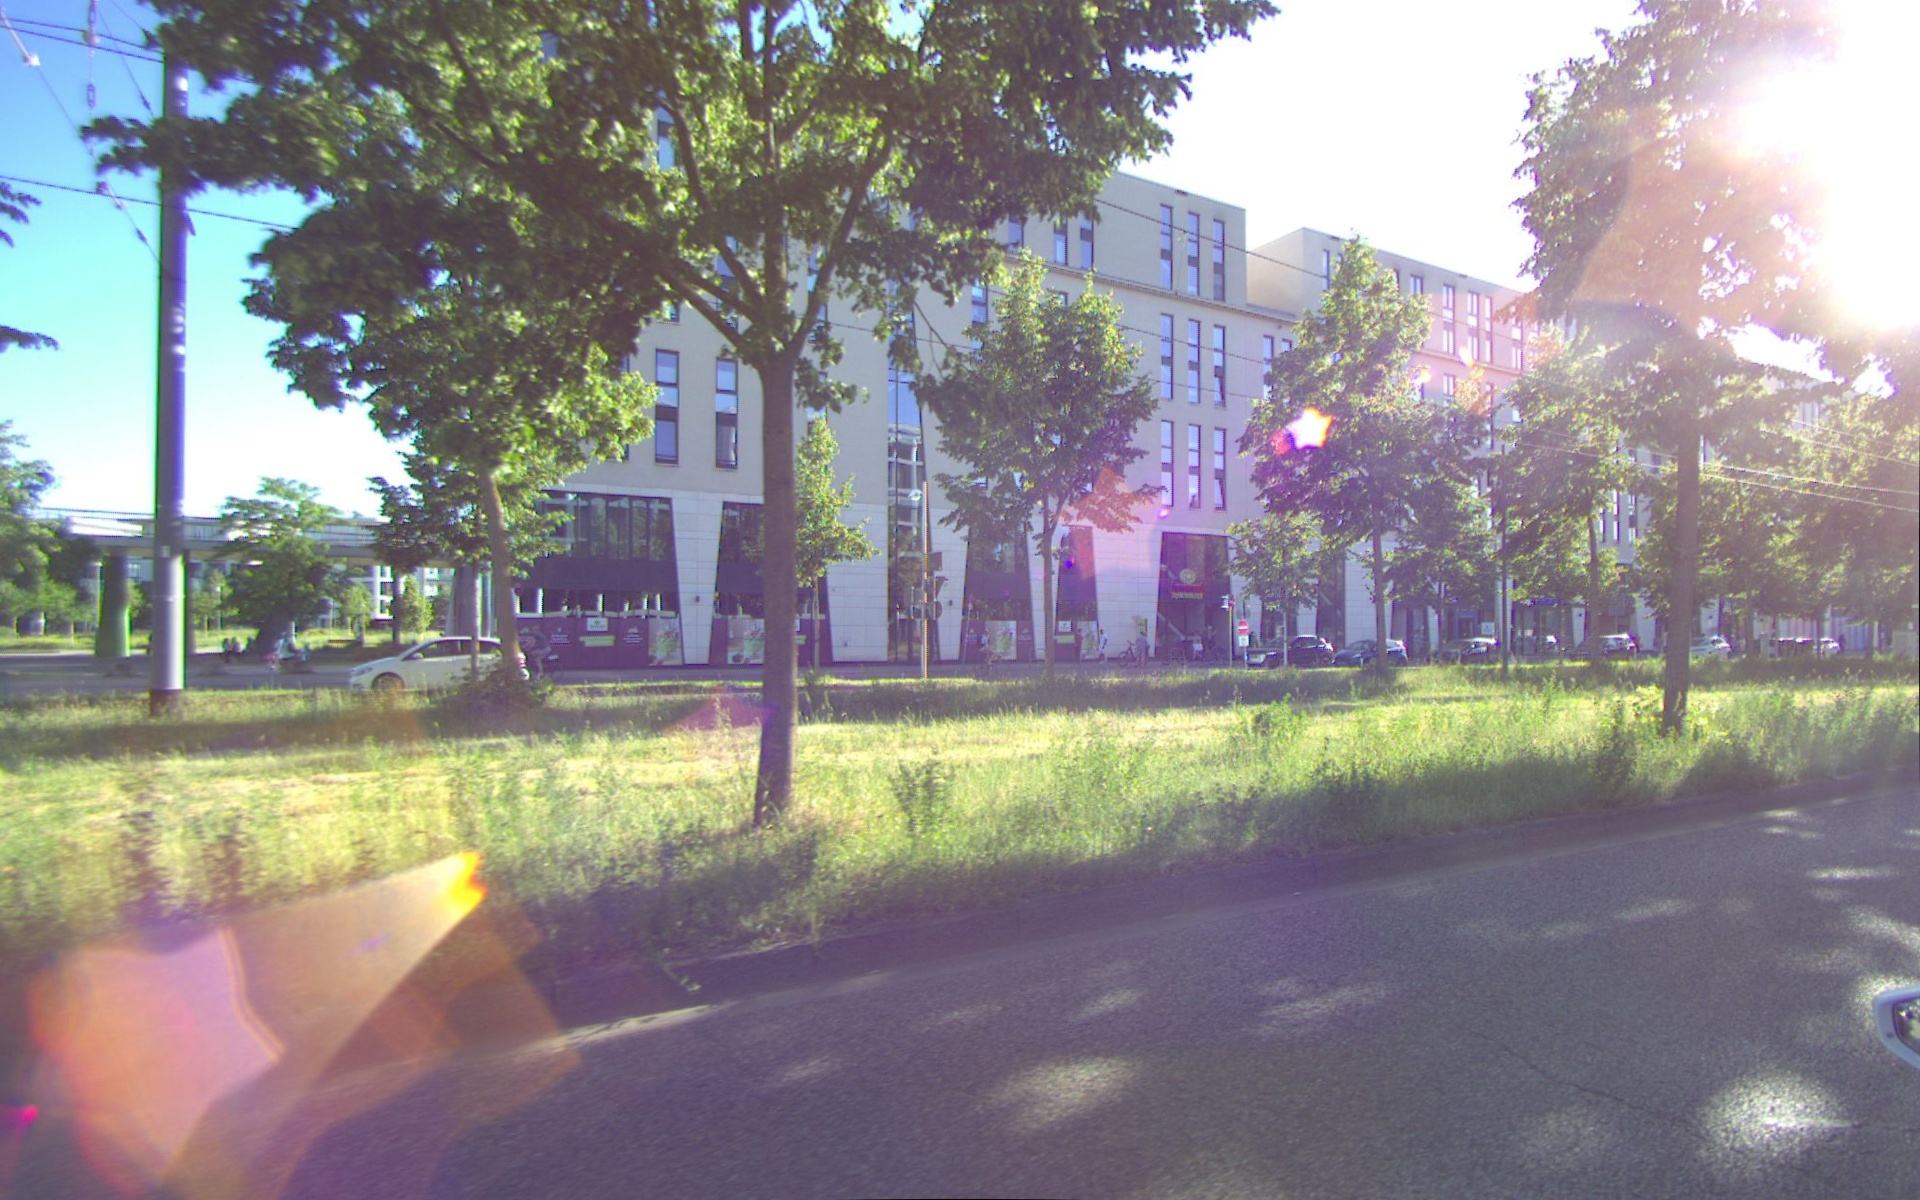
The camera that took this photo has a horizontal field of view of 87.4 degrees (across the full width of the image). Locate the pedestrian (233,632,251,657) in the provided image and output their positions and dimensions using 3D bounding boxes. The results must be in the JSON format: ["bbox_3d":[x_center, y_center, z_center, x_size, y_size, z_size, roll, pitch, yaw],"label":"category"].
[{"bbox_3d":[-33.501,2.058,46.881,0.592,1.140,0.437,1,-1,-28],"label":"pedestrian"}]

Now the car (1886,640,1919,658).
[{"bbox_3d":[74.862,3.833,79.282,3.669,1.360,1.572,1,-2,-31],"label":"car"}]

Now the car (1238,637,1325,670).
[{"bbox_3d":[13.940,2.299,43.560,3.669,1.360,1.572,1,-2,-31],"label":"car"}]

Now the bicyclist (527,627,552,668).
[{"bbox_3d":[-13.957,1.574,33.349,0.694,1.310,0.577,1,-1,-20],"label":"bicyclist"}]

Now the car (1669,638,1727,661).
[{"bbox_3d":[46.044,3.064,62.656,3.669,1.360,1.572,1,-2,-31],"label":"car"}]

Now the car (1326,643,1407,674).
[{"bbox_3d":[18.797,2.687,46.396,3.669,1.360,1.572,1,-2,-31],"label":"car"}]

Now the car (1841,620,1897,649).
[{"bbox_3d":[65.402,2.463,72.234,3.955,2.040,1.983,1,-1,-32],"label":"car"}]

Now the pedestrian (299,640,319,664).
[{"bbox_3d":[-26.484,2.102,40.860,0.589,0.932,0.433,1,-1,24],"label":"pedestrian"}]

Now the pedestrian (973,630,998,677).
[{"bbox_3d":[1.017,2.106,39.855,0.792,1.836,0.575,1,-1,-33],"label":"pedestrian"}]

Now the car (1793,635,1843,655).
[{"bbox_3d":[60.209,3.153,70.509,3.669,1.360,1.572,1,-2,-31],"label":"car"}]

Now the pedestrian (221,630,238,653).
[{"bbox_3d":[-36.478,2.077,50.157,0.592,1.140,0.437,1,-1,-28],"label":"pedestrian"}]

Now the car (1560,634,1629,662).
[{"bbox_3d":[35.670,2.681,56.456,3.761,1.548,1.767,1,-2,-30],"label":"car"}]

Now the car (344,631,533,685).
[{"bbox_3d":[-14.014,1.538,27.139,4.420,1.360,1.572,1,-2,-31],"label":"car"}]

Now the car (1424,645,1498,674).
[{"bbox_3d":[24.950,2.962,50.034,3.669,1.360,1.572,1,-2,-31],"label":"car"}]

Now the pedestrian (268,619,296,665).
[{"bbox_3d":[-26.927,1.676,39.877,0.589,1.795,0.672,1,-1,24],"label":"pedestrian"}]

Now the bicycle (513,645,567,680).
[{"bbox_3d":[-13.933,2.080,33.347,1.613,1.125,0.527,1,-1,-21],"label":"bicycle"}]
